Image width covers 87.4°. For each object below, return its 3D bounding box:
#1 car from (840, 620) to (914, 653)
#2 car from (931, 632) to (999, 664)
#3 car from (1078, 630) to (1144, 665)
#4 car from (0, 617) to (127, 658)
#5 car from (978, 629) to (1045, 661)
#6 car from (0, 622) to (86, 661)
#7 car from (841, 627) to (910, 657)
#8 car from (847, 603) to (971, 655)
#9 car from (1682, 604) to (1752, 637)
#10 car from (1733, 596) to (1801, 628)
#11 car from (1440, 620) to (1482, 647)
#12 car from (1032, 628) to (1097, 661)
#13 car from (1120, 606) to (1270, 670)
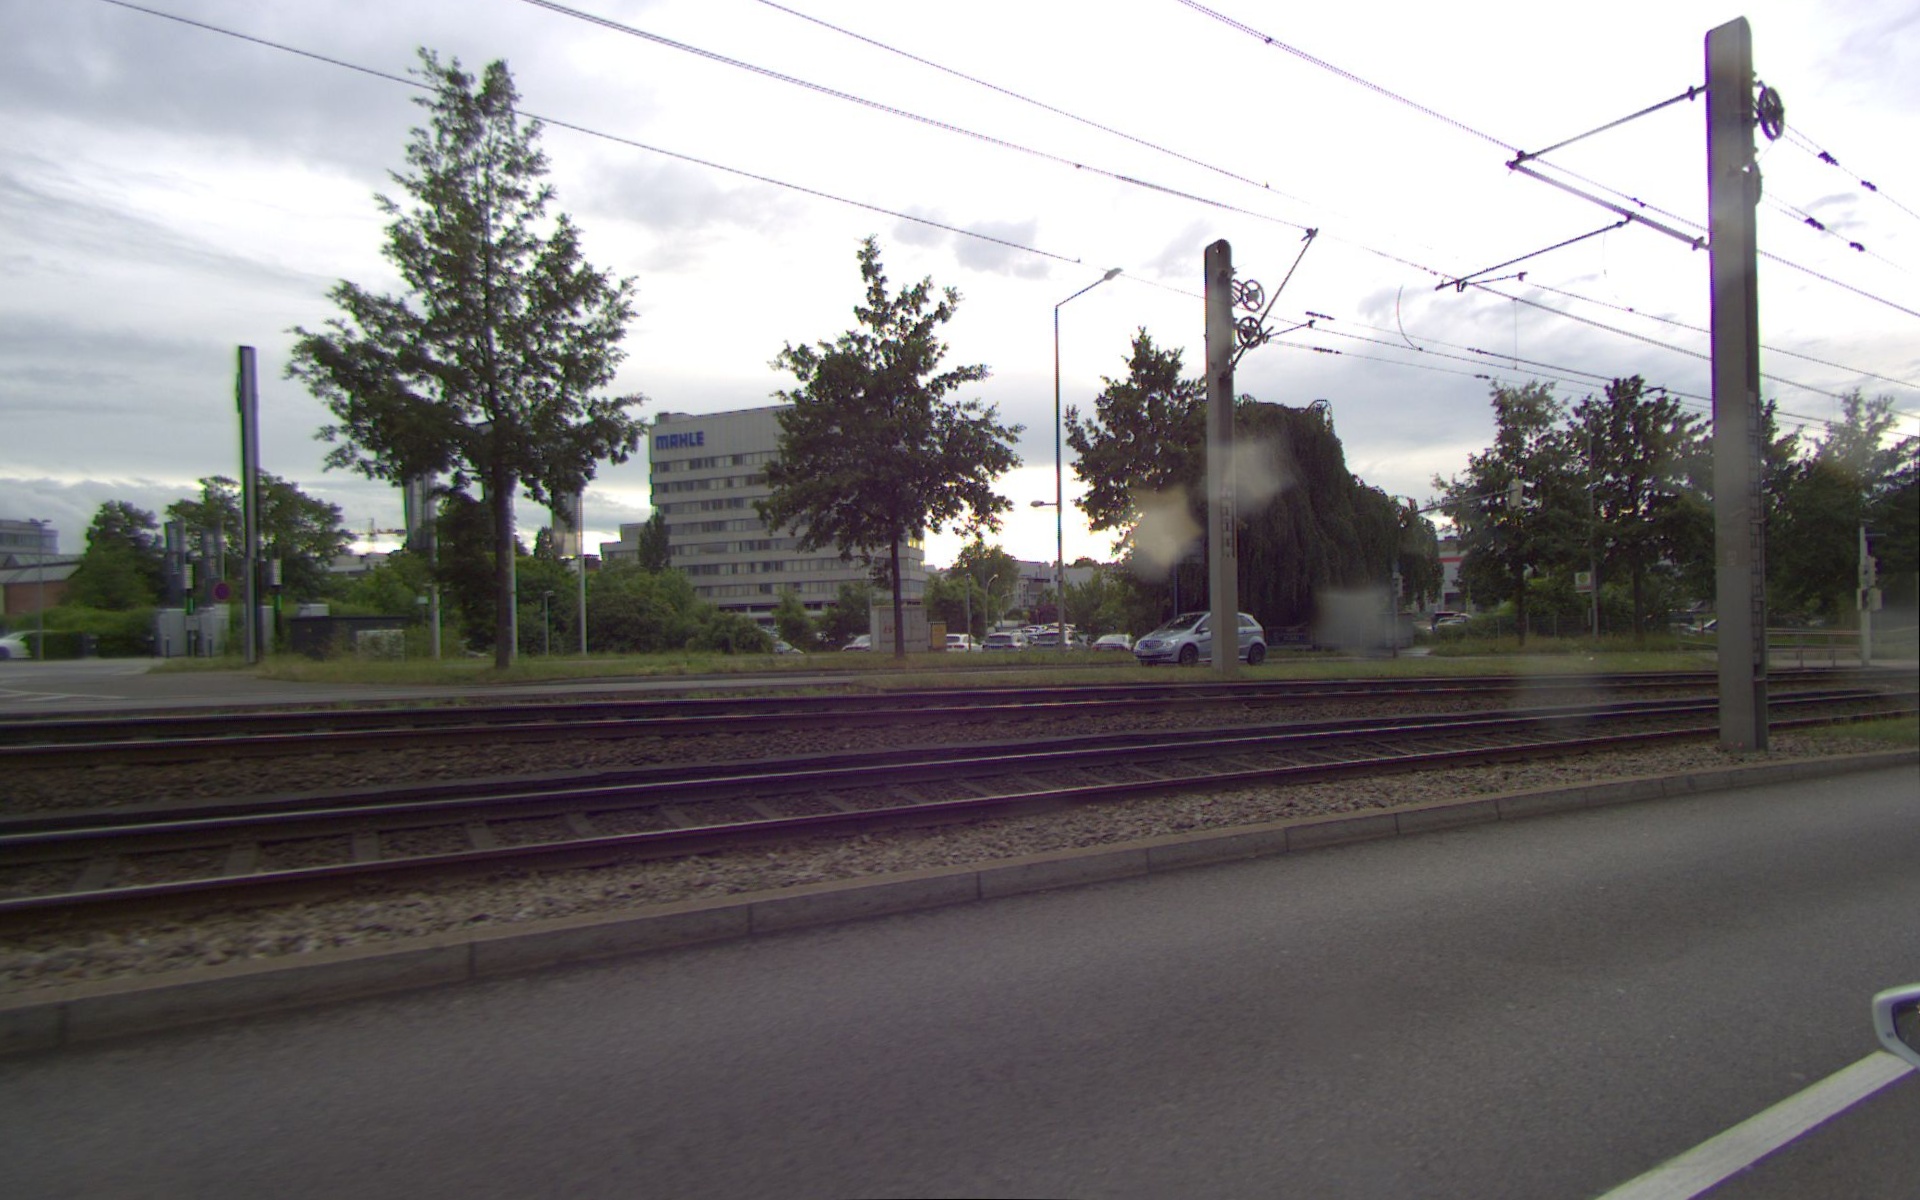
[{"bbox_3d":[-4.226,1.891,51.731,1.963,1.530,3.996,2,-1,27],"label":"car"},{"bbox_3d":[0.308,2.520,53.049,1.726,1.514,3.992,2,-1,31],"label":"car"},{"bbox_3d":[7.355,2.289,48.700,1.963,1.530,3.996,2,-1,27],"label":"car"},{"bbox_3d":[-42.124,1.740,47.249,1.962,1.750,3.997,2,-1,25],"label":"car"},{"bbox_3d":[2.675,2.301,51.603,1.726,1.514,3.992,2,-1,31],"label":"car"},{"bbox_3d":[-44.625,1.959,47.869,1.962,1.750,3.997,2,-1,25],"label":"car"},{"bbox_3d":[-4.603,2.321,55.288,1.726,1.514,3.992,2,-1,31],"label":"car"},{"bbox_3d":[-1.815,1.055,36.112,3.957,1.672,1.982,3,-1,-33],"label":"car"},{"bbox_3d":[50.358,1.352,66.814,3.943,2.040,1.989,2,-1,-23],"label":"car"},{"bbox_3d":[55.252,0.835,68.752,3.943,2.040,1.989,2,-1,-23],"label":"car"},{"bbox_3d":[29.357,1.965,58.997,1.962,1.433,3.998,2,-1,24],"label":"car"},{"bbox_3d":[5.338,2.236,50.858,1.726,1.514,3.992,2,-1,31],"label":"car"},{"bbox_3d":[6.777,1.065,28.954,3.953,1.702,1.984,1,0,-30],"label":"car"}]
